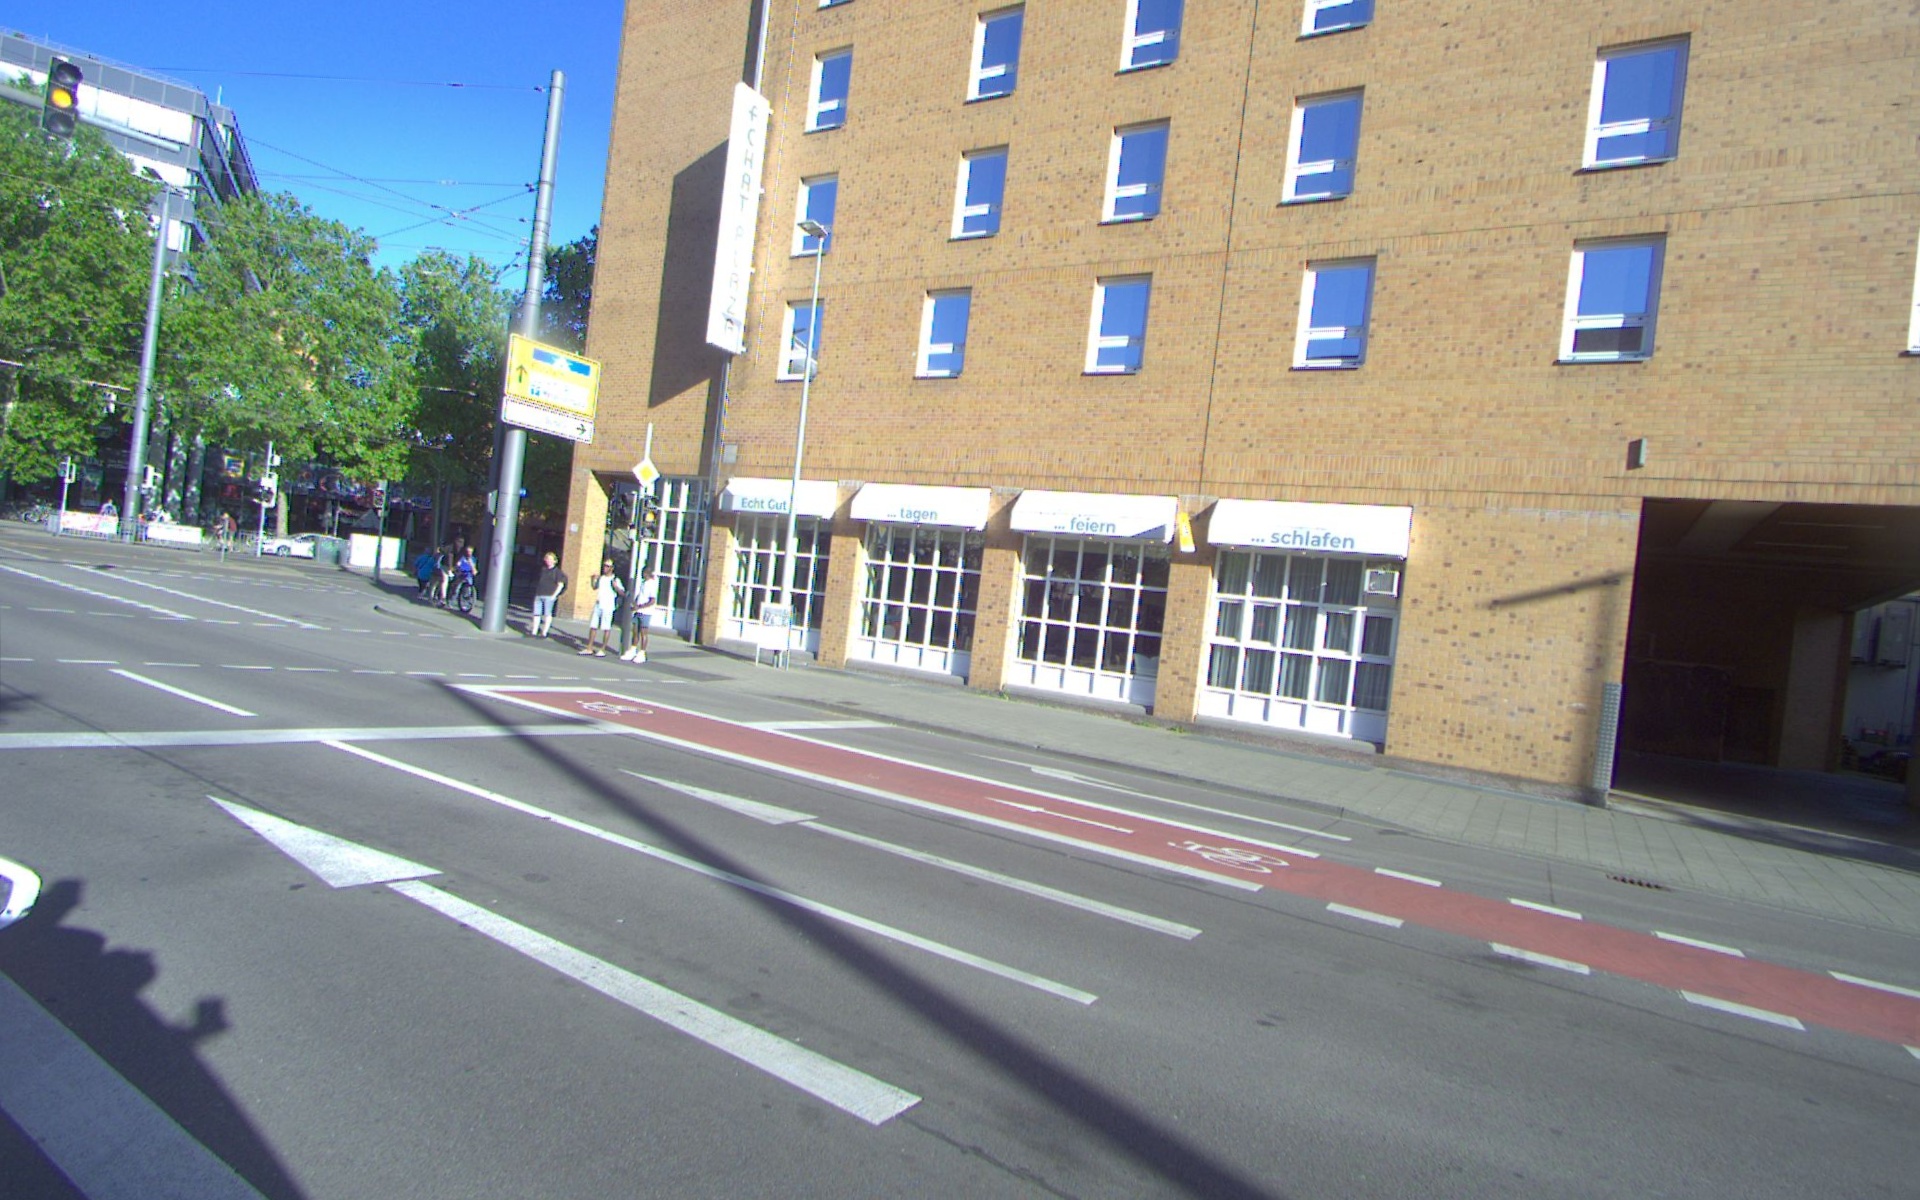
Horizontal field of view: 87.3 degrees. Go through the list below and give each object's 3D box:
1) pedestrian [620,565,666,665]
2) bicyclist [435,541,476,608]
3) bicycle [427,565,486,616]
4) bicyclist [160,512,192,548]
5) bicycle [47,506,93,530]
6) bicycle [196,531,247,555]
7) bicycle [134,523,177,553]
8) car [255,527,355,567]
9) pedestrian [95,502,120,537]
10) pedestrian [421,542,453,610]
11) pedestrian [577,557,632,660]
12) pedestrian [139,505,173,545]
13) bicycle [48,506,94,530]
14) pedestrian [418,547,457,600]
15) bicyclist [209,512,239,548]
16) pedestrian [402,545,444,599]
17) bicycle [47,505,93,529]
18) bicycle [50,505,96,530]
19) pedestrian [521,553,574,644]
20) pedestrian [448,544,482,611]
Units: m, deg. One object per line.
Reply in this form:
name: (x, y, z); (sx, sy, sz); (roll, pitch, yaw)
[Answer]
pedestrian: (-5.893, 0.277, 18.715); (0.569, 1.797, 0.404); (7, 2, 31)
bicyclist: (-12.388, -0.631, 24.690); (0.838, 1.536, 0.577); (9, 6, 42)
bicycle: (-12.348, -0.244, 24.647); (1.855, 1.065, 0.599); (8, 5, 41)
bicyclist: (-47.540, -4.227, 60.979); (0.823, 1.955, 1.225); (7, 0, 40)
bicycle: (-46.662, -4.282, 52.755); (1.700, 0.998, 0.386); (7, 0, -45)
bicycle: (-36.379, -2.798, 49.578); (0.642, 0.921, 1.854); (7, -1, 36)
bicycle: (-34.979, -2.708, 43.727); (1.891, 1.064, 0.791); (6, -2, 32)
car: (-35.387, -2.855, 54.401); (1.969, 1.503, 3.990); (6, -2, 36)
pedestrian: (-48.820, -4.602, 57.630); (0.845, 1.873, 0.799); (10, -2, -44)
pedestrian: (-14.038, -0.644, 27.012); (0.557, 1.723, 0.654); (8, -1, -30)
pedestrian: (-6.694, 0.157, 18.966); (0.719, 1.857, 0.497); (5, 2, -3)
pedestrian: (-34.921, -3.251, 43.711); (0.824, 1.612, 0.771); (6, -1, 31)
bicycle: (-46.020, -4.244, 52.090); (1.700, 0.998, 0.386); (7, 0, -45)
pedestrian: (-16.746, -0.845, 32.250); (0.729, 1.557, 0.652); (7, -1, 24)
bicyclist: (-36.296, -3.432, 49.599); (0.627, 1.635, 0.926); (7, 0, 35)
pedestrian: (-16.804, -0.884, 31.476); (0.729, 1.557, 0.677); (7, -1, 24)
bicycle: (-46.970, -4.383, 53.103); (1.700, 0.998, 0.386); (7, 0, -45)
bicycle: (-45.400, -4.216, 51.508); (1.700, 0.998, 0.386); (7, 0, -45)
pedestrian: (-8.555, -0.034, 20.880); (0.683, 1.789, 0.573); (8, 0, -9)
pedestrian: (-13.536, -0.613, 27.529); (0.597, 1.747, 0.598); (8, -1, -31)
